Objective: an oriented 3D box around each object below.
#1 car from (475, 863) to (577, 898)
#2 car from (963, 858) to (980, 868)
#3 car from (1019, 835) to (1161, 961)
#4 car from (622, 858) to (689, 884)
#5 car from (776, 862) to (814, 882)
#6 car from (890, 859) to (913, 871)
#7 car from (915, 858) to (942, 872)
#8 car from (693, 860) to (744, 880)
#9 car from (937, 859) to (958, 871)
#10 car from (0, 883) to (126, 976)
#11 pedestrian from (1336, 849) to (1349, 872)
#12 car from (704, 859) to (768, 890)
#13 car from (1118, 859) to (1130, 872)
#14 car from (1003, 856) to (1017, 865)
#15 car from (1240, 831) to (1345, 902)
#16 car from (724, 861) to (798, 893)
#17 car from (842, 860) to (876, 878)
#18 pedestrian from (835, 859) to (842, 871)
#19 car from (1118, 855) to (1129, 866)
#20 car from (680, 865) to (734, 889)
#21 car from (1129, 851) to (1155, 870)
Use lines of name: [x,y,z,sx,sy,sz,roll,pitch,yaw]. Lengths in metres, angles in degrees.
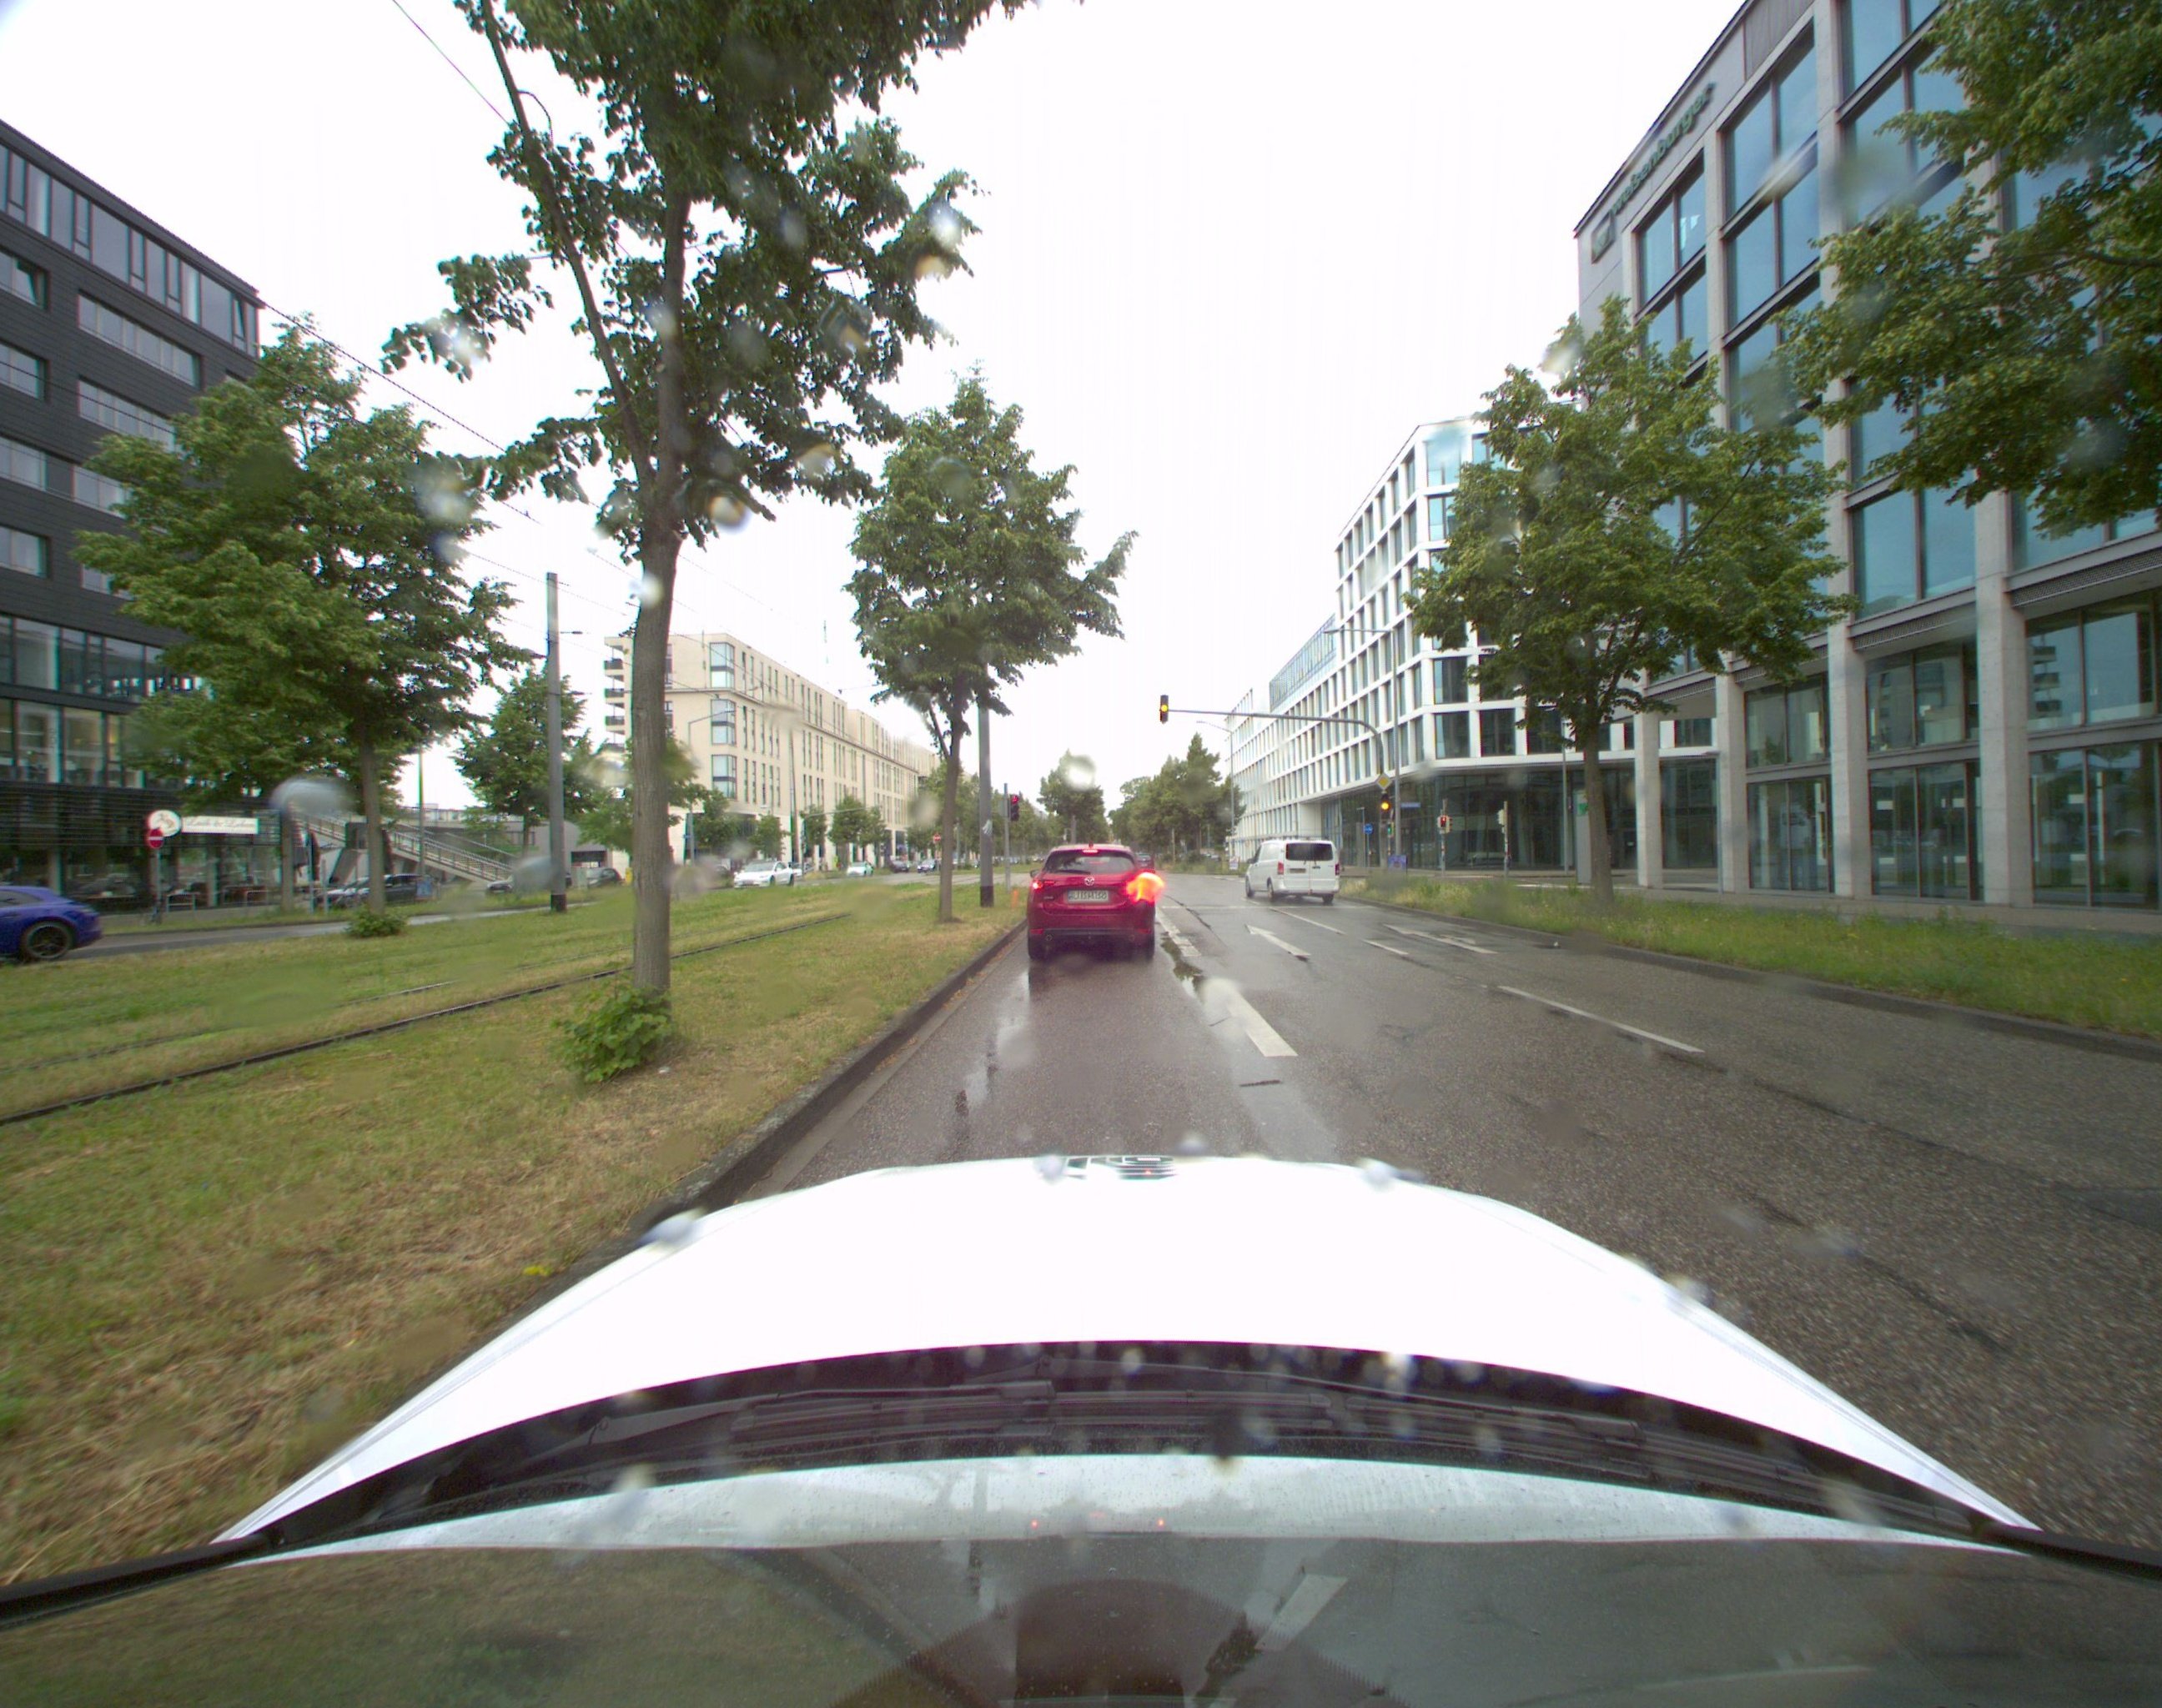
car: [-26.712,1.223,39.414,1.989,1.484,4.442,-1,0,-2]
car: [-18.047,1.499,134.530,1.986,1.484,4.448,-1,0,2]
car: [0.166,0.589,12.996,1.891,1.677,4.001,-1,0,1]
car: [-26.798,1.051,51.422,1.989,1.484,4.442,-1,0,-2]
car: [-26.003,1.608,74.258,1.987,1.618,4.000,-1,0,0]
car: [-22.496,1.352,102.086,1.988,1.484,4.443,-1,0,-1]
car: [-16.957,1.185,90.775,1.986,1.484,4.448,-1,0,2]
car: [-29.055,1.223,65.423,1.986,1.484,4.446,-1,0,1]
car: [-18.489,1.483,113.115,1.986,1.484,4.447,-1,0,1]
car: [-19.430,1.337,13.175,1.987,1.521,5.011,-1,0,1]
pedestrian: [19.270,0.462,60.059,0.675,1.707,0.784,-1,0,0]
car: [-20.142,1.173,47.678,1.987,1.618,4.000,-1,0,0]
car: [7.317,1.894,138.311,1.986,2.013,4.002,-1,0,2]
car: [-12.741,1.169,145.518,1.986,1.484,4.447,-1,0,1]
car: [6.484,0.381,25.568,1.961,1.979,5.091,-1,0,0]
car: [-16.468,1.157,42.209,1.986,1.484,4.446,-1,0,1]
car: [-20.383,1.339,74.942,1.988,1.484,4.442,-1,0,-2]
pedestrian: [-33.341,1.500,111.964,0.632,1.717,0.743,-1,0,4]
car: [8.334,1.214,160.575,1.986,2.013,4.002,-1,0,2]
car: [-26.891,1.620,58.732,1.989,1.598,4.442,-1,0,-2]
car: [4.993,0.515,67.321,1.739,1.465,3.778,-1,0,-3]
